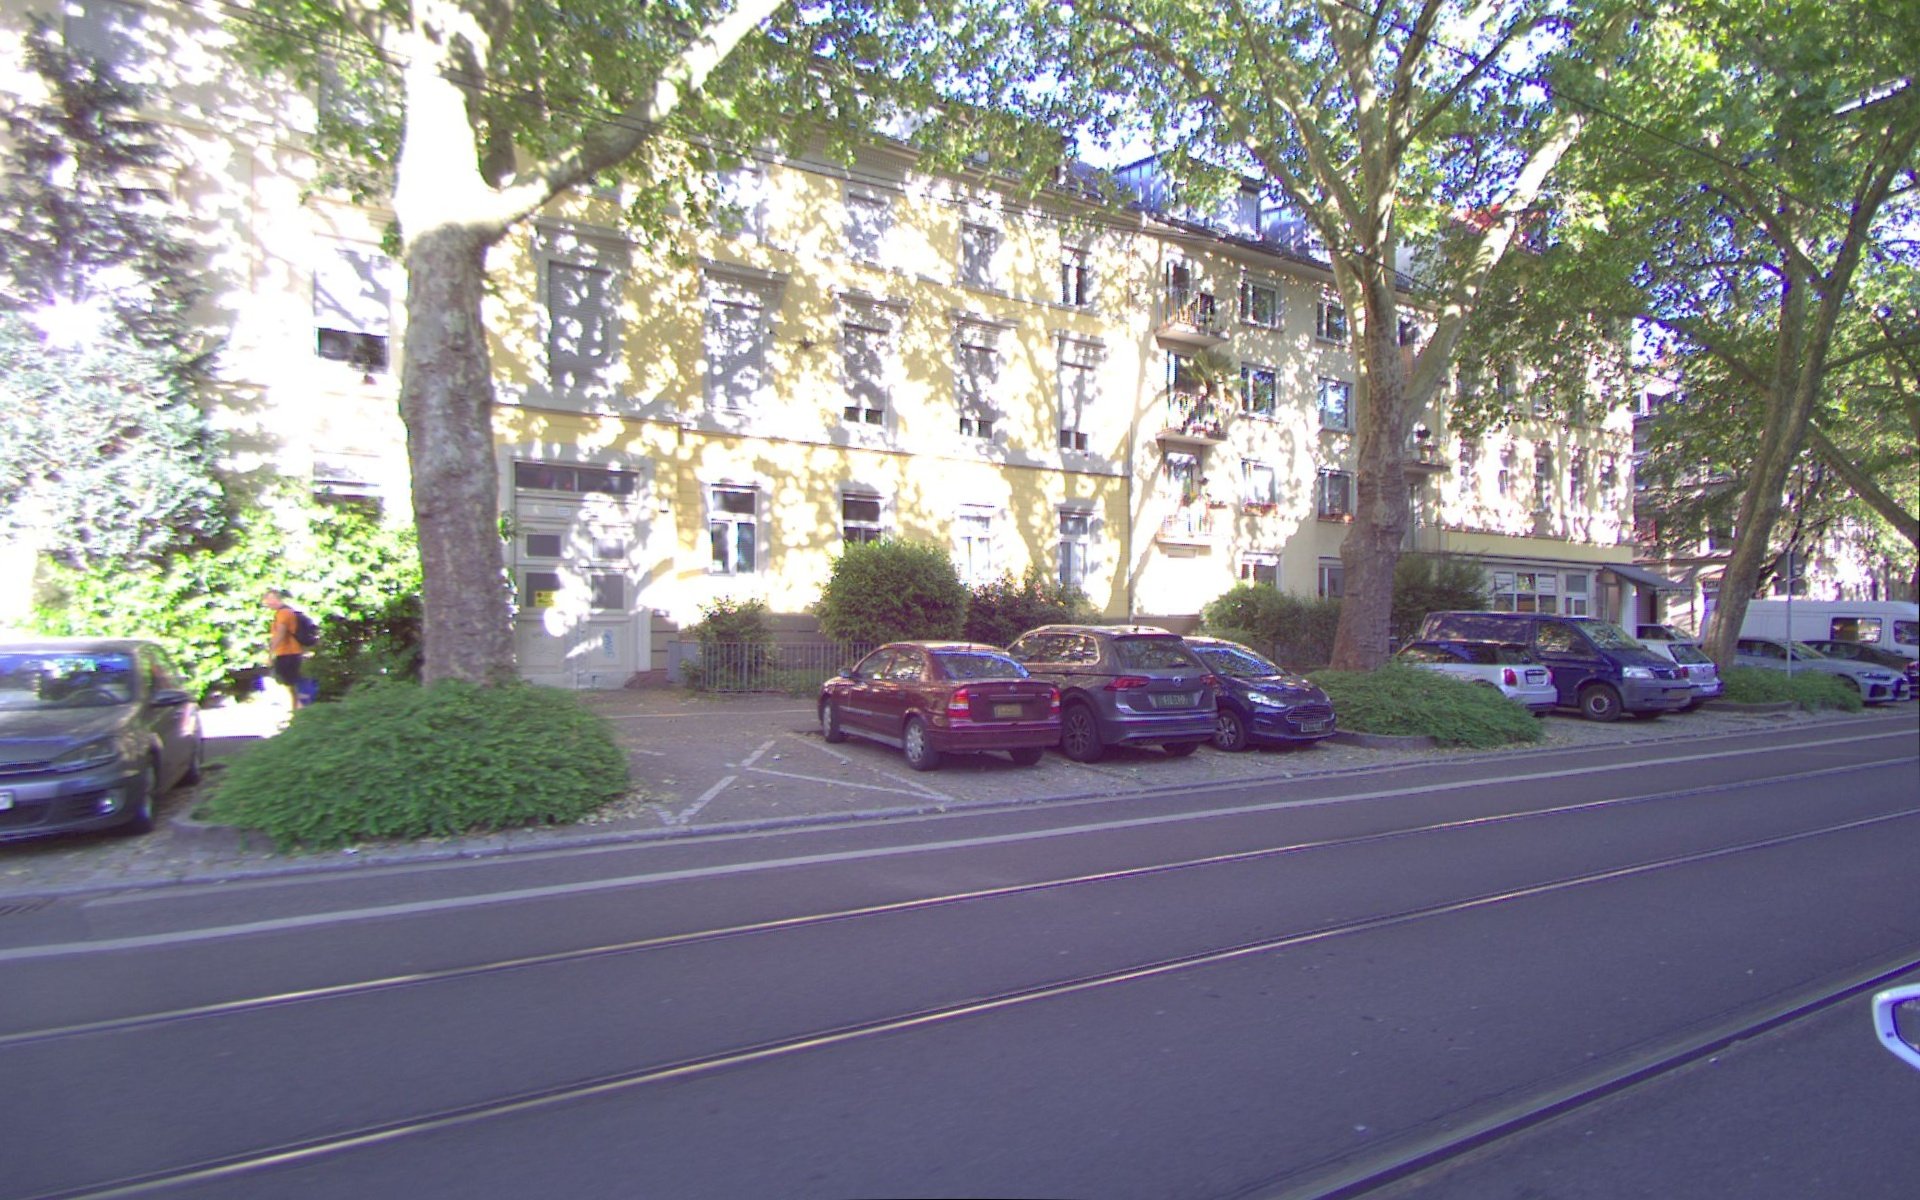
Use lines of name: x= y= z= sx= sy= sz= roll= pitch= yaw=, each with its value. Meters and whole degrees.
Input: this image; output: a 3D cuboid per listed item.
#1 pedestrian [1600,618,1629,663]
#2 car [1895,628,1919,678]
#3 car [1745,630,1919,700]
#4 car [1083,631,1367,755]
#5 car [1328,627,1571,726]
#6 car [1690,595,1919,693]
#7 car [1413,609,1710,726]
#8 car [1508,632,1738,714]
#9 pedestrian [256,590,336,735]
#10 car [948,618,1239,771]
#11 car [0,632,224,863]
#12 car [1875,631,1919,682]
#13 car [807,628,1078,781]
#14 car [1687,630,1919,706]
pedestrian: x=22.744 y=1.398 z=34.904 sx=0.623 sy=1.518 sz=0.655 roll=1 pitch=0 yaw=-40
car: x=32.305 y=1.751 z=31.647 sx=1.659 sy=1.598 sz=3.897 roll=1 pitch=0 yaw=-32
car: x=22.597 y=1.599 z=25.492 sx=1.659 sy=1.518 sz=3.897 roll=1 pitch=0 yaw=-32
car: x=3.742 y=1.243 z=14.821 sx=1.798 sy=1.440 sz=3.900 roll=1 pitch=0 yaw=-31
car: x=8.914 y=1.316 z=18.586 sx=1.726 sy=1.518 sz=3.716 roll=1 pitch=0 yaw=-30
car: x=24.326 y=1.135 z=27.525 sx=2.428 sy=2.441 sz=6.597 roll=1 pitch=0 yaw=-29
car: x=11.592 y=1.196 z=19.735 sx=1.956 sy=1.949 sz=4.655 roll=1 pitch=0 yaw=-28
car: x=13.837 y=1.460 z=21.180 sx=1.618 sy=1.449 sz=3.716 roll=1 pitch=0 yaw=-30
pedestrian: x=-8.992 y=0.824 z=13.596 sx=0.830 sy=1.874 sz=0.858 roll=1 pitch=-1 yaw=-37
car: x=1.628 y=1.124 z=13.602 sx=1.857 sy=1.648 sz=3.976 roll=1 pitch=0 yaw=-30
car: x=-7.423 y=1.020 z=8.208 sx=1.784 sy=1.481 sz=3.902 roll=1 pitch=-2 yaw=-29
car: x=30.339 y=1.770 z=30.185 sx=1.659 sy=1.518 sz=3.897 roll=1 pitch=0 yaw=-32
car: x=-0.391 y=1.147 z=12.553 sx=1.728 sy=1.461 sz=3.902 roll=1 pitch=0 yaw=-29
car: x=19.914 y=1.544 z=23.911 sx=1.656 sy=1.518 sz=3.903 roll=1 pitch=0 yaw=-28
